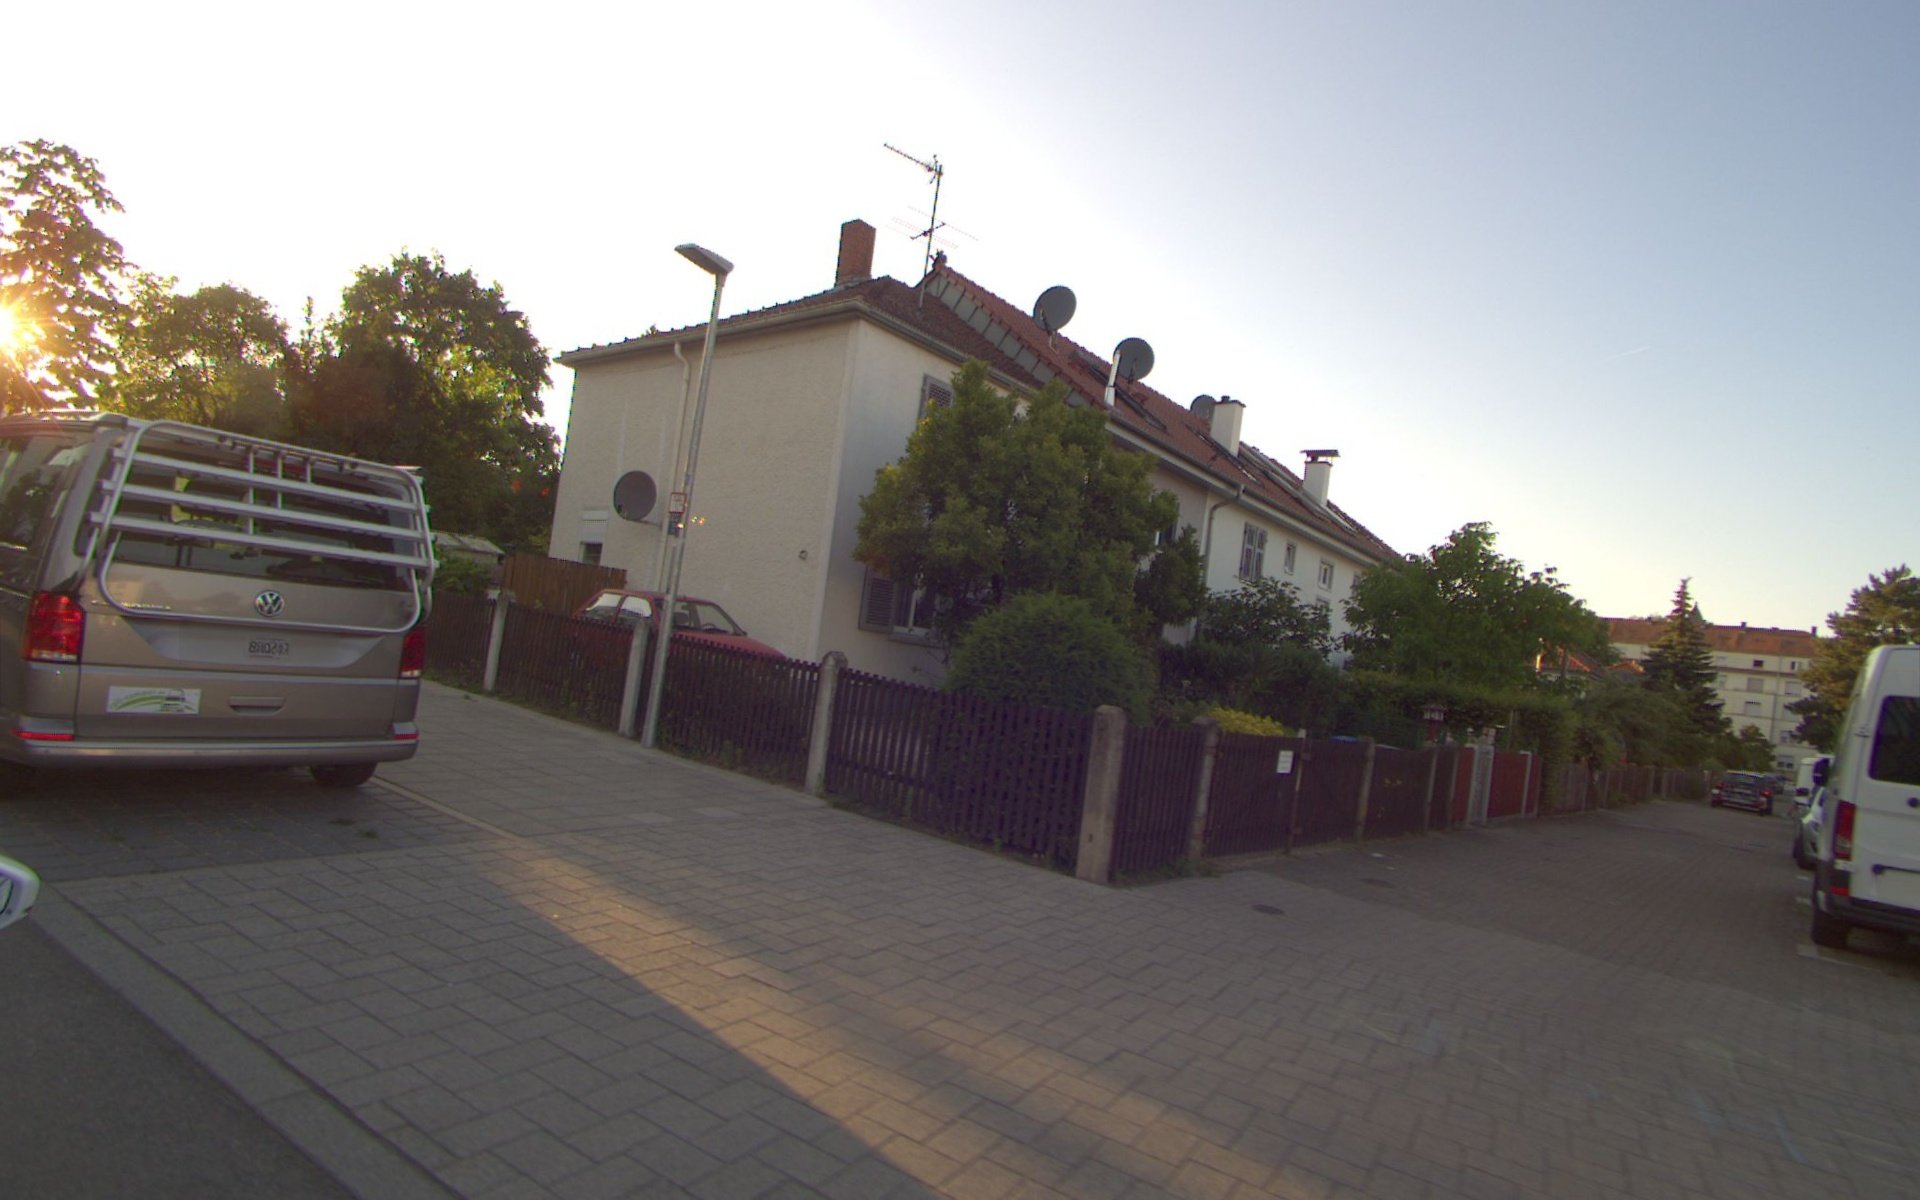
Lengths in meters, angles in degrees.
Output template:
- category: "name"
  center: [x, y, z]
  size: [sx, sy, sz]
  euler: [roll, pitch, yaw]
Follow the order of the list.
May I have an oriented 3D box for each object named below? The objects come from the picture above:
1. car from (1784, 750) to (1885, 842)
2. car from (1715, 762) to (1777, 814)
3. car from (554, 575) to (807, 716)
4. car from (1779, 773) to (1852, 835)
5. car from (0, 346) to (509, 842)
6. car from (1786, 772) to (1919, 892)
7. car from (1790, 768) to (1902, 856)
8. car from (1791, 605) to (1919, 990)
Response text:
- category: "car"
  center: [25.164, 5.581, 29.084]
  size: [1.817, 2.198, 4.457]
  euler: [4, -5, 38]
- category: "car"
  center: [29.571, 7.045, 37.904]
  size: [1.656, 1.613, 3.761]
  euler: [4, -5, 38]
- category: "car"
  center: [-3.978, 0.595, 14.068]
  size: [3.588, 1.461, 1.528]
  euler: [6, -2, 41]
- category: "car"
  center: [30.298, 7.178, 35.705]
  size: [1.656, 1.808, 4.089]
  euler: [4, -5, 38]
- category: "car"
  center: [-5.298, -0.117, 6.526]
  size: [4.798, 2.119, 2.067]
  euler: [6, -2, 37]
- category: "car"
  center: [14.632, 3.682, 16.357]
  size: [1.718, 1.493, 4.124]
  euler: [4, -5, 39]
- category: "car"
  center: [21.146, 4.983, 24.135]
  size: [1.656, 1.671, 4.089]
  euler: [4, -5, 38]
- category: "car"
  center: [9.127, 1.875, 9.116]
  size: [2.024, 2.722, 5.562]
  euler: [8, -2, 42]
